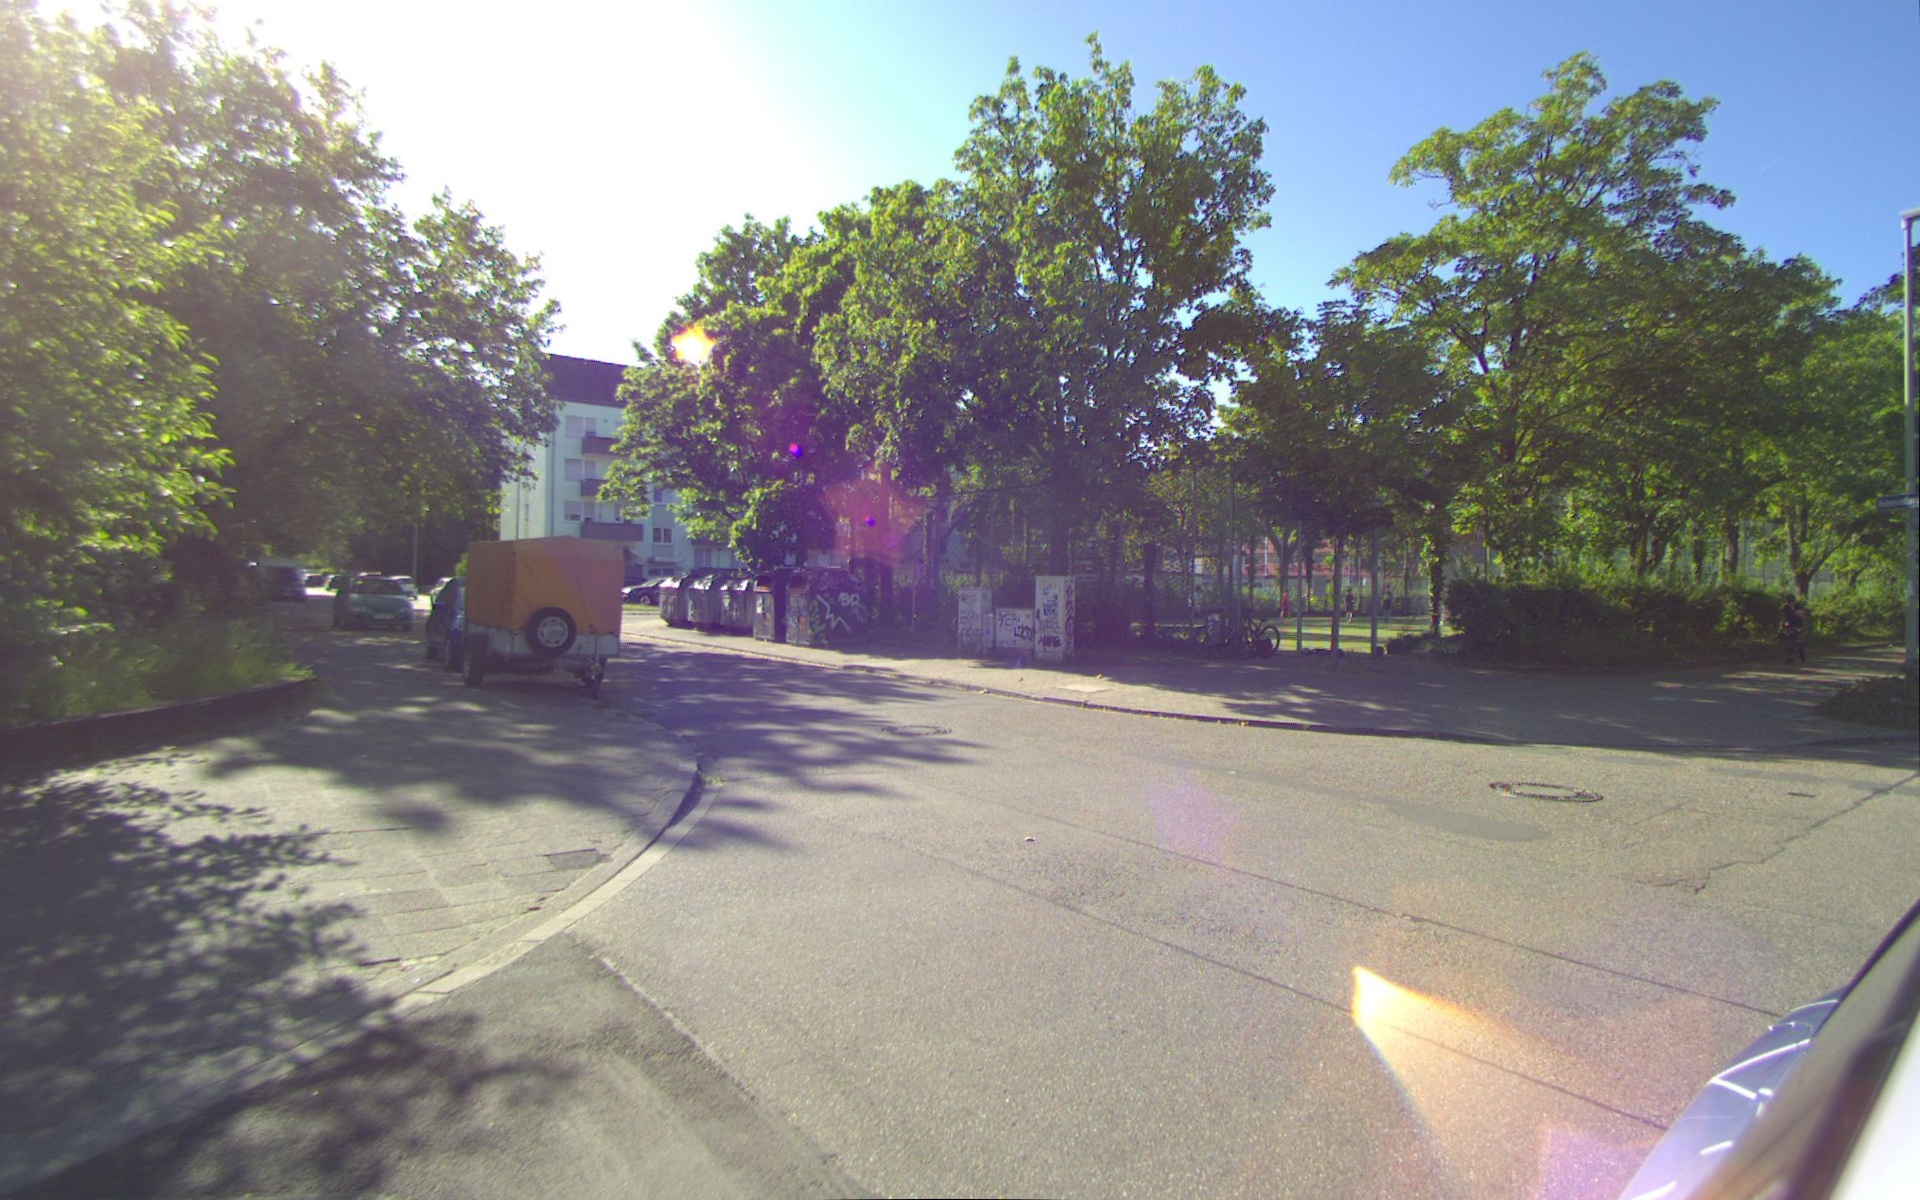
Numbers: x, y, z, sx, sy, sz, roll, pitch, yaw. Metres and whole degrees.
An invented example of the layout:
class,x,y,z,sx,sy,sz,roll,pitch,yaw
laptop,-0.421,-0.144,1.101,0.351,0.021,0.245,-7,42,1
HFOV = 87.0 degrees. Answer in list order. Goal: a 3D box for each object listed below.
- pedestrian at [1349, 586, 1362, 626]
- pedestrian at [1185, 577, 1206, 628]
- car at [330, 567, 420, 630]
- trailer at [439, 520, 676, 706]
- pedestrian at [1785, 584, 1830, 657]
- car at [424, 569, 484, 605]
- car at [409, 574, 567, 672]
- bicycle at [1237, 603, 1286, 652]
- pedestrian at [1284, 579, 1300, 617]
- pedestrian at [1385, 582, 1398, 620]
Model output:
class,x,y,z,sx,sy,sz,roll,pitch,yaw
pedestrian,15.753,0.235,40.345,0.386,1.555,0.320,1,0,-42
pedestrian,7.377,0.077,31.717,0.422,1.555,0.436,1,0,-41
car,-16.809,-0.088,28.992,1.839,1.671,4.000,1,1,-36
trailer,-5.639,0.108,13.880,1.942,2.146,4.073,2,0,-38
pedestrian,19.559,0.466,23.355,0.629,1.659,0.642,1,0,-35
car,-25.051,-0.655,50.026,2.028,1.671,4.000,1,1,-36
car,-8.563,0.304,18.196,1.854,1.530,3.930,-1,2,-36
bicycle,6.089,0.549,20.479,0.891,0.970,0.294,1,0,5
pedestrian,13.583,-0.071,41.369,0.422,1.555,0.436,1,0,-41
pedestrian,18.033,0.042,42.283,0.395,1.555,0.317,1,0,-42
